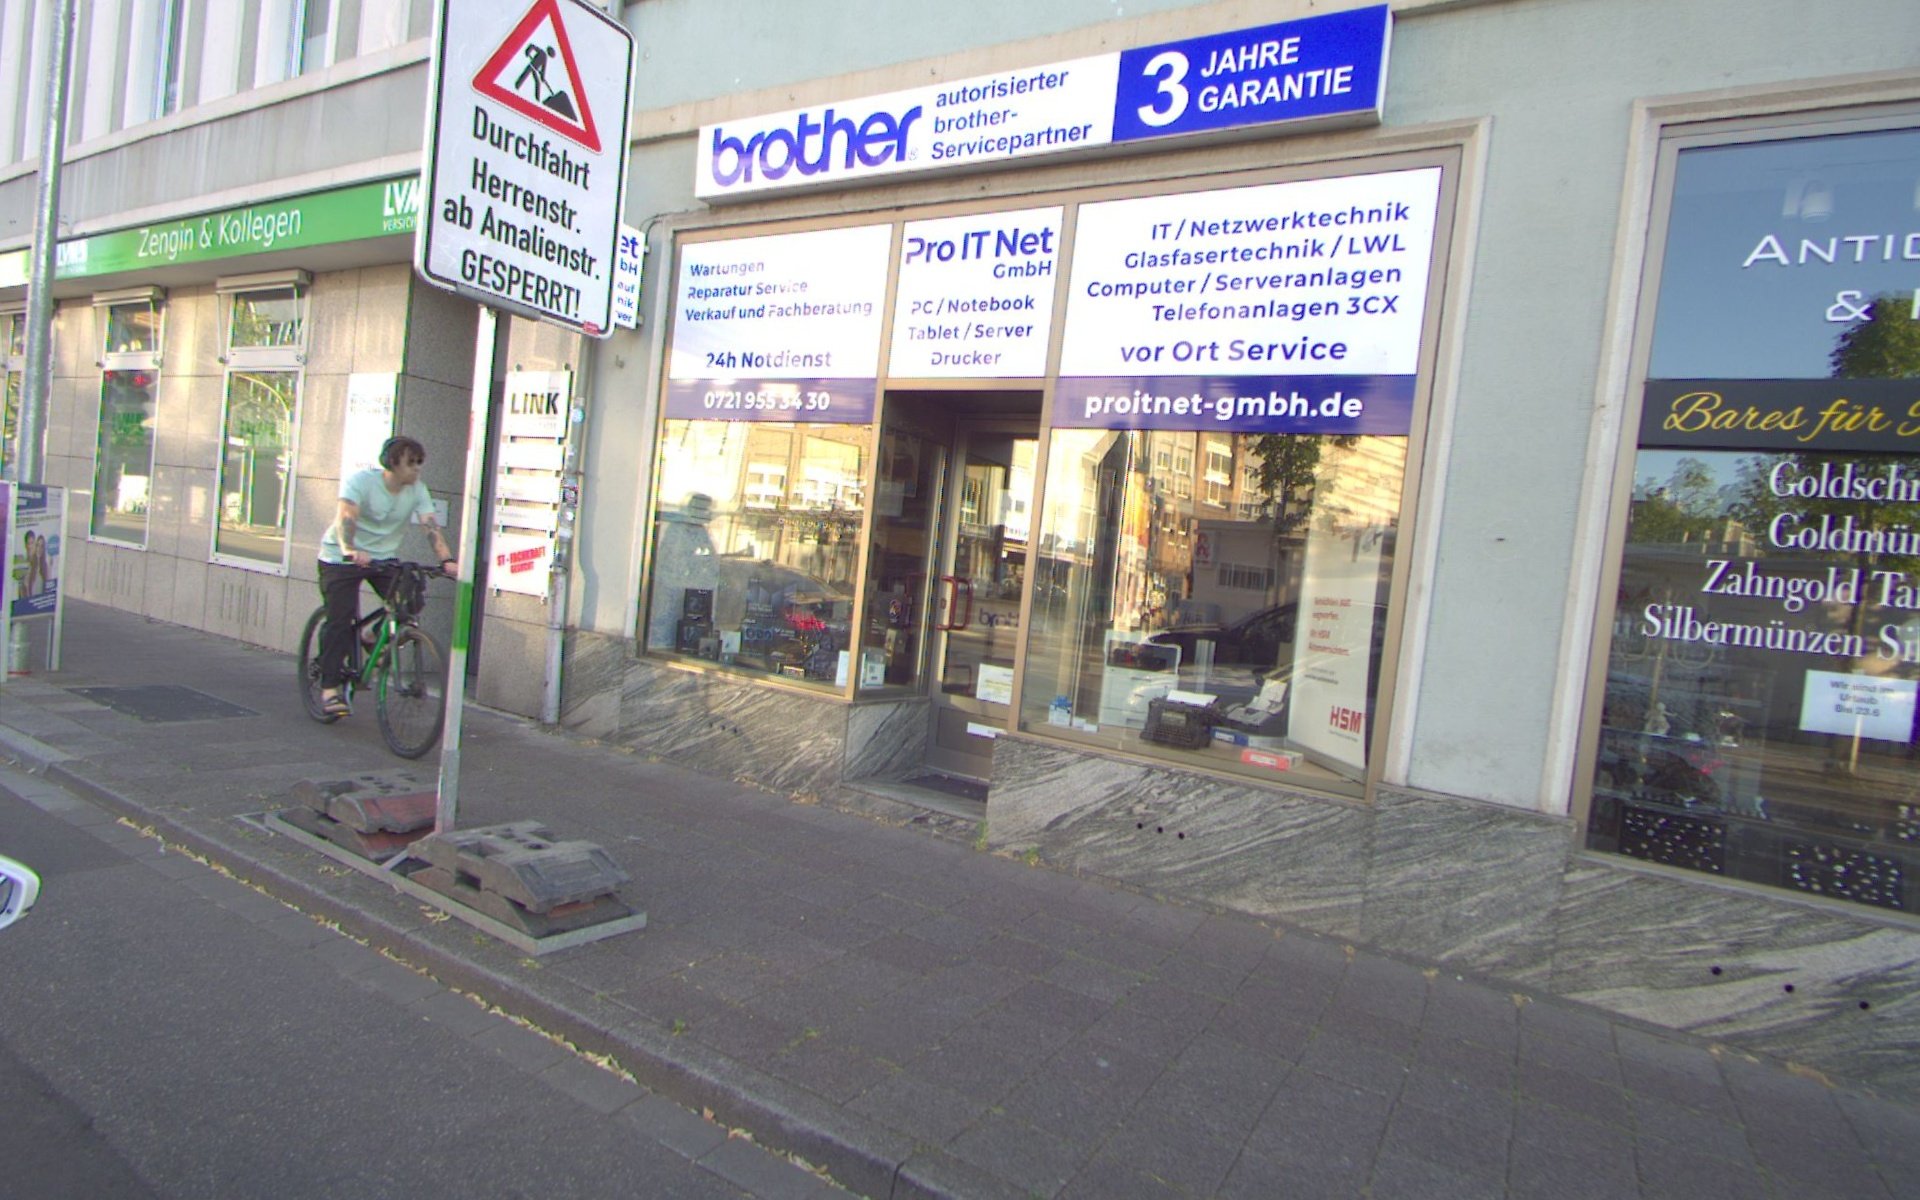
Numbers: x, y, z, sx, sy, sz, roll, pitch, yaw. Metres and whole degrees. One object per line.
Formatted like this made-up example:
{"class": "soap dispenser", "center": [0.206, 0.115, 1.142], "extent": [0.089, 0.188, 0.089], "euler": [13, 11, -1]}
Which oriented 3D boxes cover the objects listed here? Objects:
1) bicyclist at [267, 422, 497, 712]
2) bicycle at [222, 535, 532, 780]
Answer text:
{"class": "bicyclist", "center": [-3.355, -0.191, 5.848], "extent": [0.885, 1.527, 0.722], "euler": [7, 2, 32]}
{"class": "bicycle", "center": [-3.451, 0.282, 5.901], "extent": [1.864, 1.121, 0.690], "euler": [7, 2, 31]}
